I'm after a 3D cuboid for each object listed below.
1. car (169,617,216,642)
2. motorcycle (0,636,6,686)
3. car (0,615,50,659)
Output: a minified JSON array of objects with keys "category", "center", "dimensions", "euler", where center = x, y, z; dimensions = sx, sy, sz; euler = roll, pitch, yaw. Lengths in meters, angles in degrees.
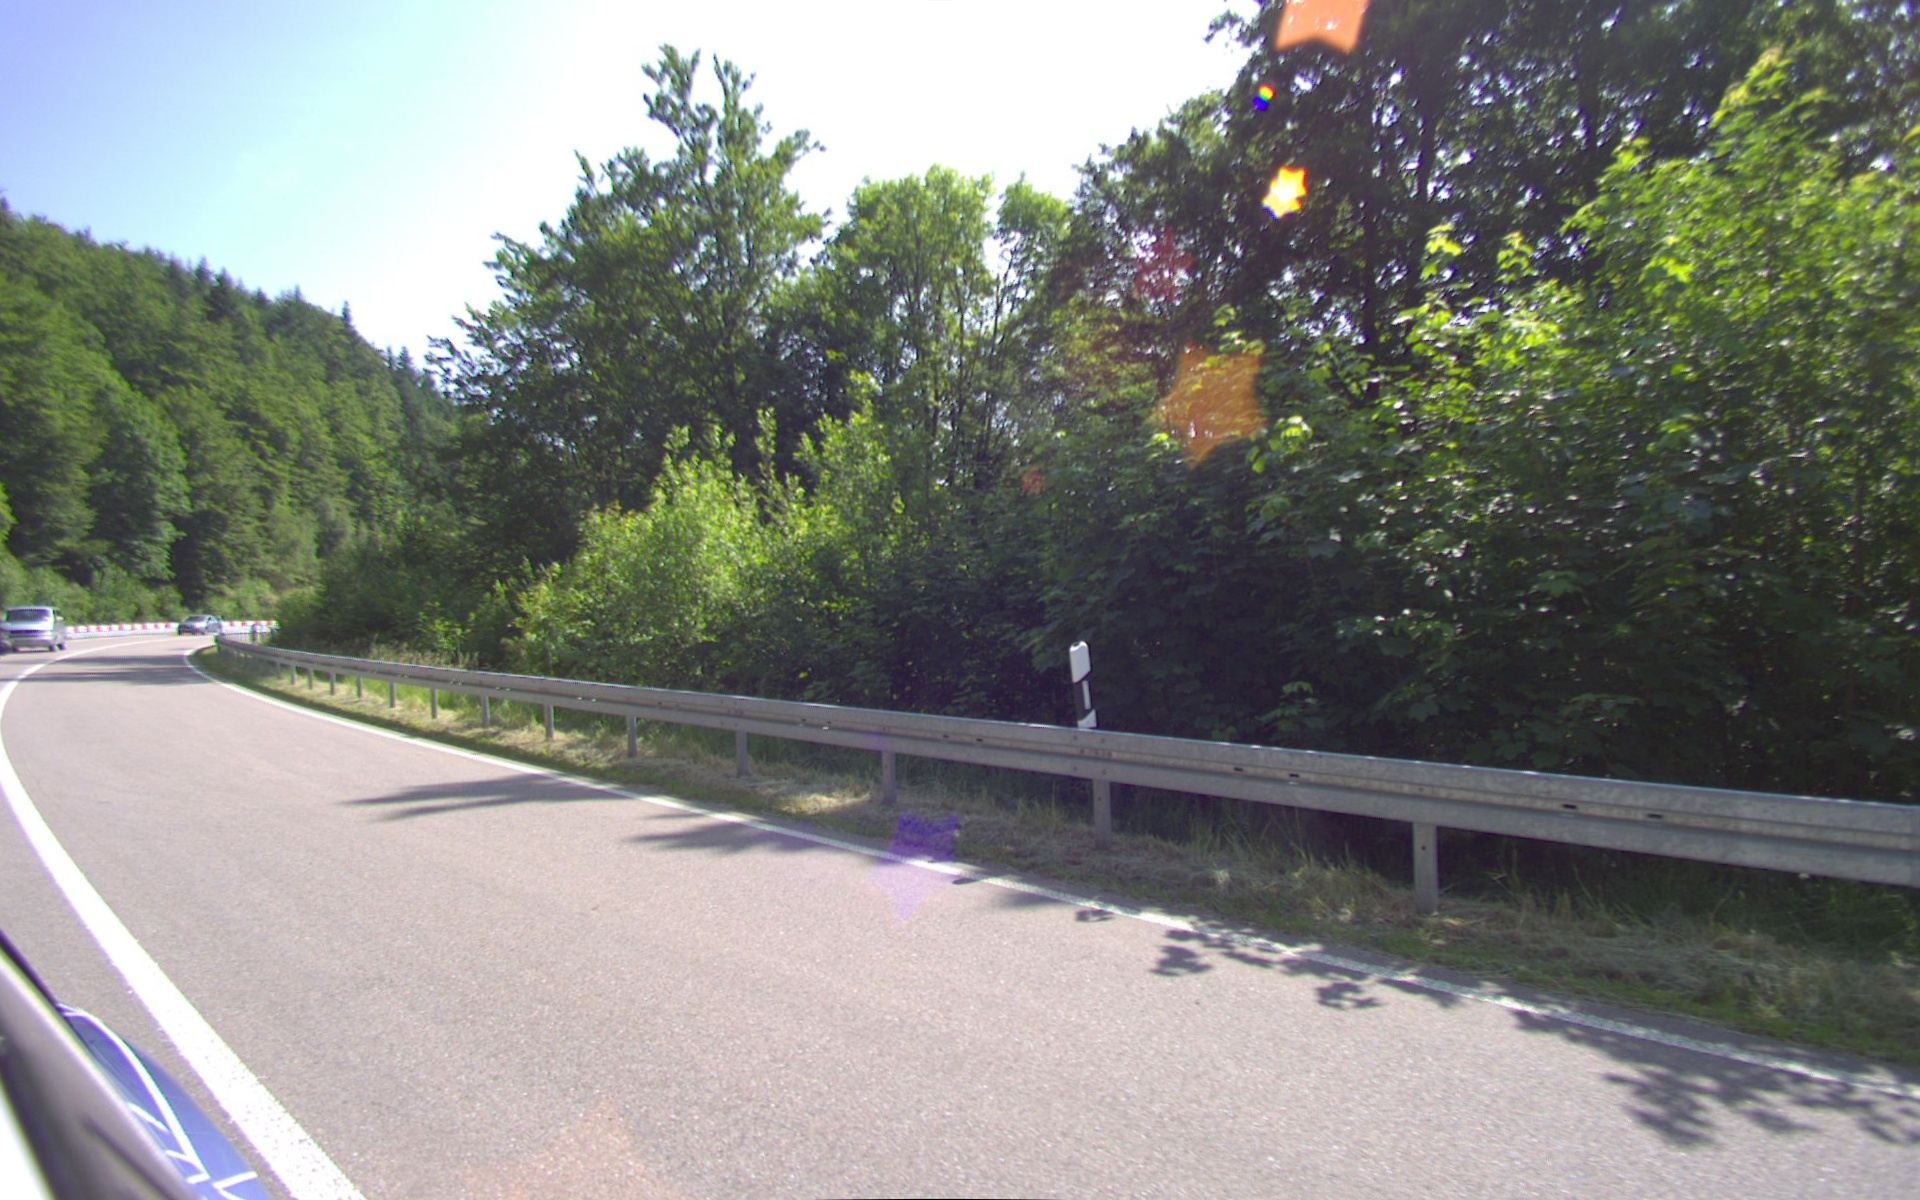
[{"category":"car","center":[-56.384,2.140,74.400],"dimensions":[1.965,1.655,4.013],"euler":[-2,0,-25]},{"category":"motorcycle","center":[-22.926,1.423,23.463],"dimensions":[1.093,1.132,1.963],"euler":[1,-2,-41]},{"category":"car","center":[-39.076,1.504,42.209],"dimensions":[1.629,1.773,3.799],"euler":[1,-1,-42]}]
